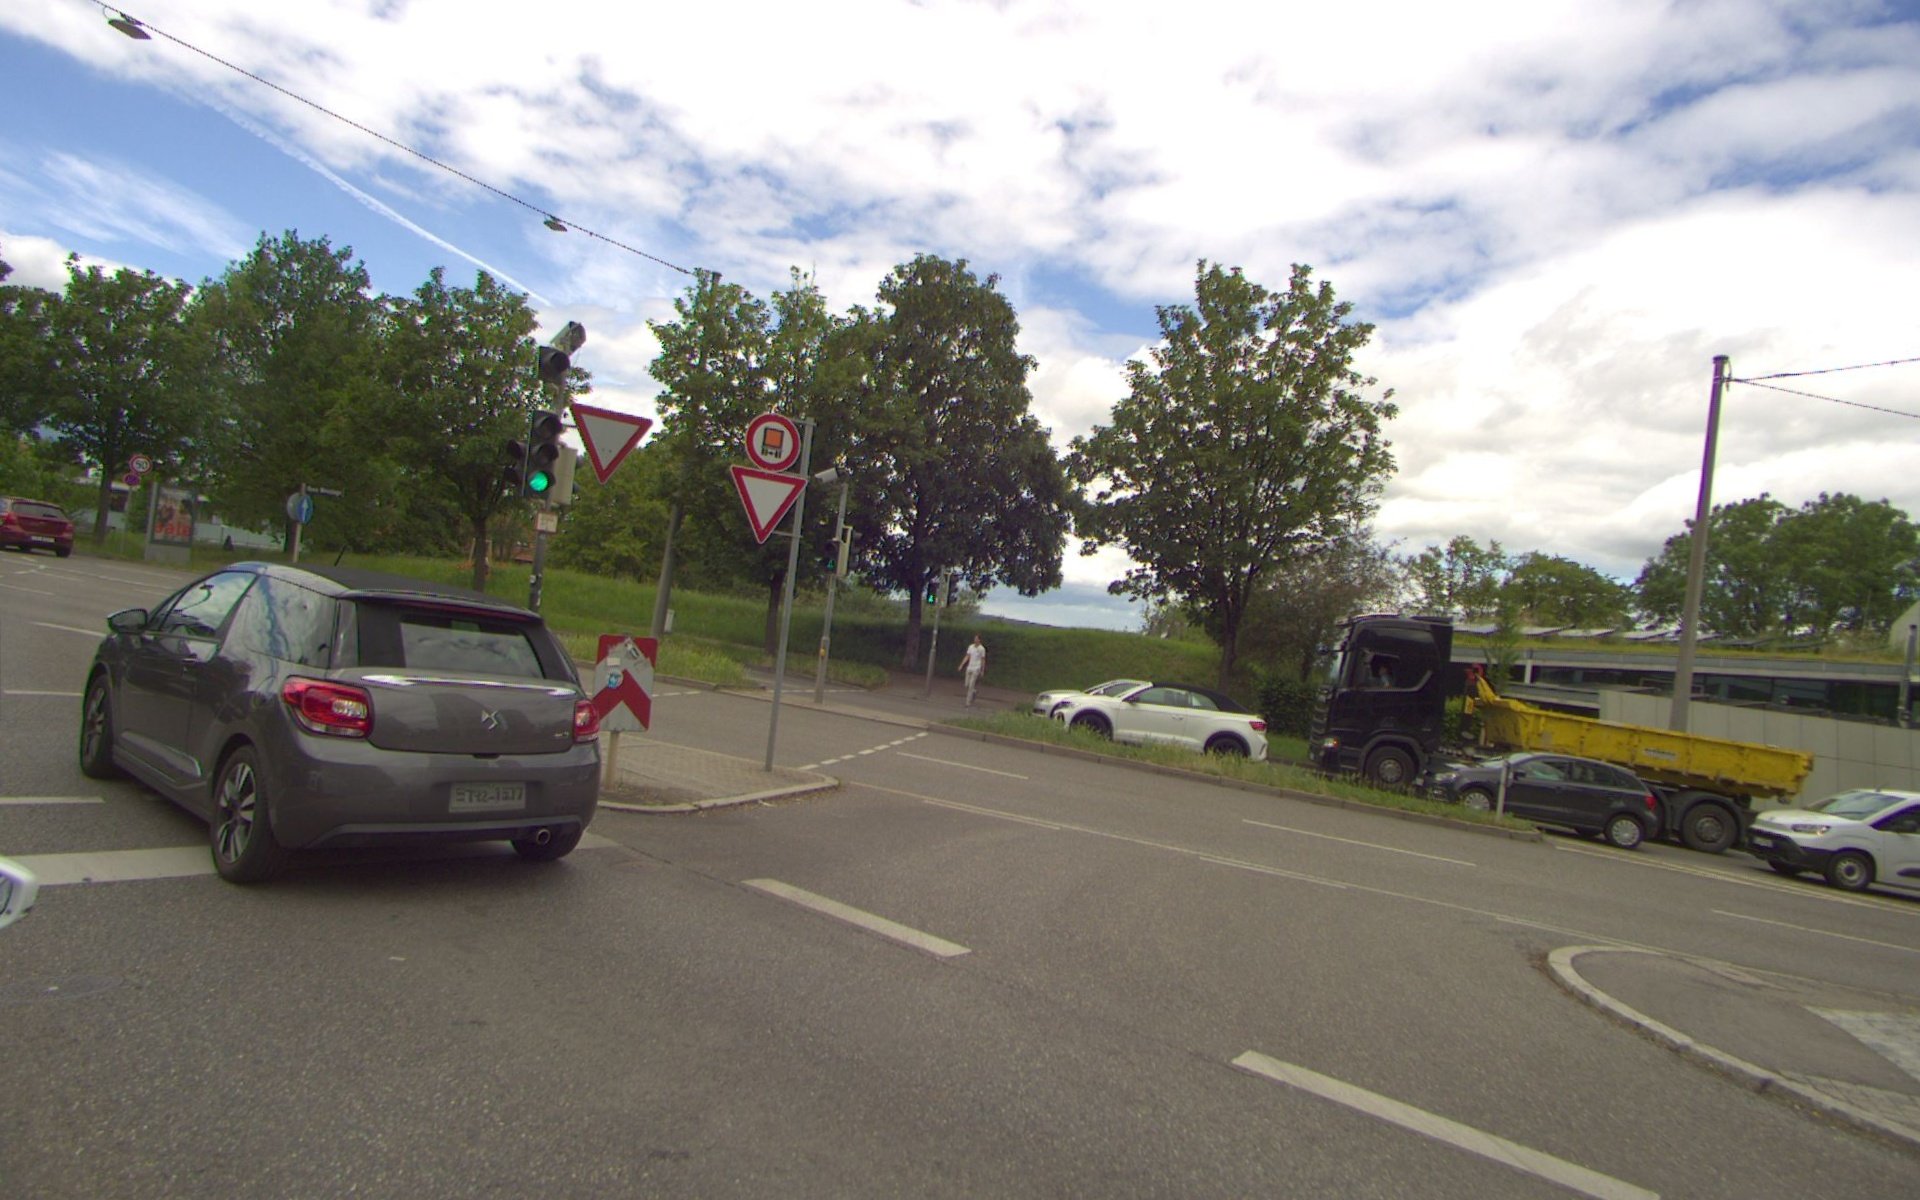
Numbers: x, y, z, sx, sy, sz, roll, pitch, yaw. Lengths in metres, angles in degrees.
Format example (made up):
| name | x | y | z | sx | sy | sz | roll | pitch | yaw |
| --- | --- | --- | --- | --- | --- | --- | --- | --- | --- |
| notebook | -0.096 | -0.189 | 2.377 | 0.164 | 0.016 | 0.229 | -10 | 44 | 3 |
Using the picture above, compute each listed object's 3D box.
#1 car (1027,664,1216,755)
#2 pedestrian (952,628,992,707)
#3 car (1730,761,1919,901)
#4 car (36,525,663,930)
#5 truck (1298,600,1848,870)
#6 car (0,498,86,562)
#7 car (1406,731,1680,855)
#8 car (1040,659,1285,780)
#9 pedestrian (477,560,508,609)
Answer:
| name | x | y | z | sx | sy | sz | roll | pitch | yaw |
| --- | --- | --- | --- | --- | --- | --- | --- | --- | --- |
| car | 3.819 | 2.523 | 23.759 | 4.079 | 1.459 | 1.992 | 8 | -2 | 12 |
| pedestrian | 0.311 | 1.757 | 26.097 | 0.577 | 1.940 | 0.757 | 8 | -1 | 17 |
| car | 16.224 | 4.128 | 17.340 | 4.206 | 1.817 | 1.758 | 8 | -2 | 9 |
| car | -3.774 | 0.518 | 5.948 | 4.001 | 1.477 | 1.702 | 6 | -2 | 37 |
| truck | 12.511 | 2.675 | 21.530 | 9.277 | 3.970 | 2.833 | 8 | -1 | 11 |
| car | -27.162 | -2.100 | 28.980 | 3.655 | 1.498 | 1.749 | 7 | -2 | 29 |
| car | 10.552 | 3.468 | 18.496 | 3.902 | 1.389 | 1.656 | 8 | -2 | 12 |
| car | 3.992 | 2.309 | 20.057 | 4.403 | 1.547 | 1.859 | 9 | -2 | 12 |
| pedestrian | -16.388 | -0.534 | 35.268 | 0.689 | 1.626 | 0.542 | 8 | 5 | 13 |
